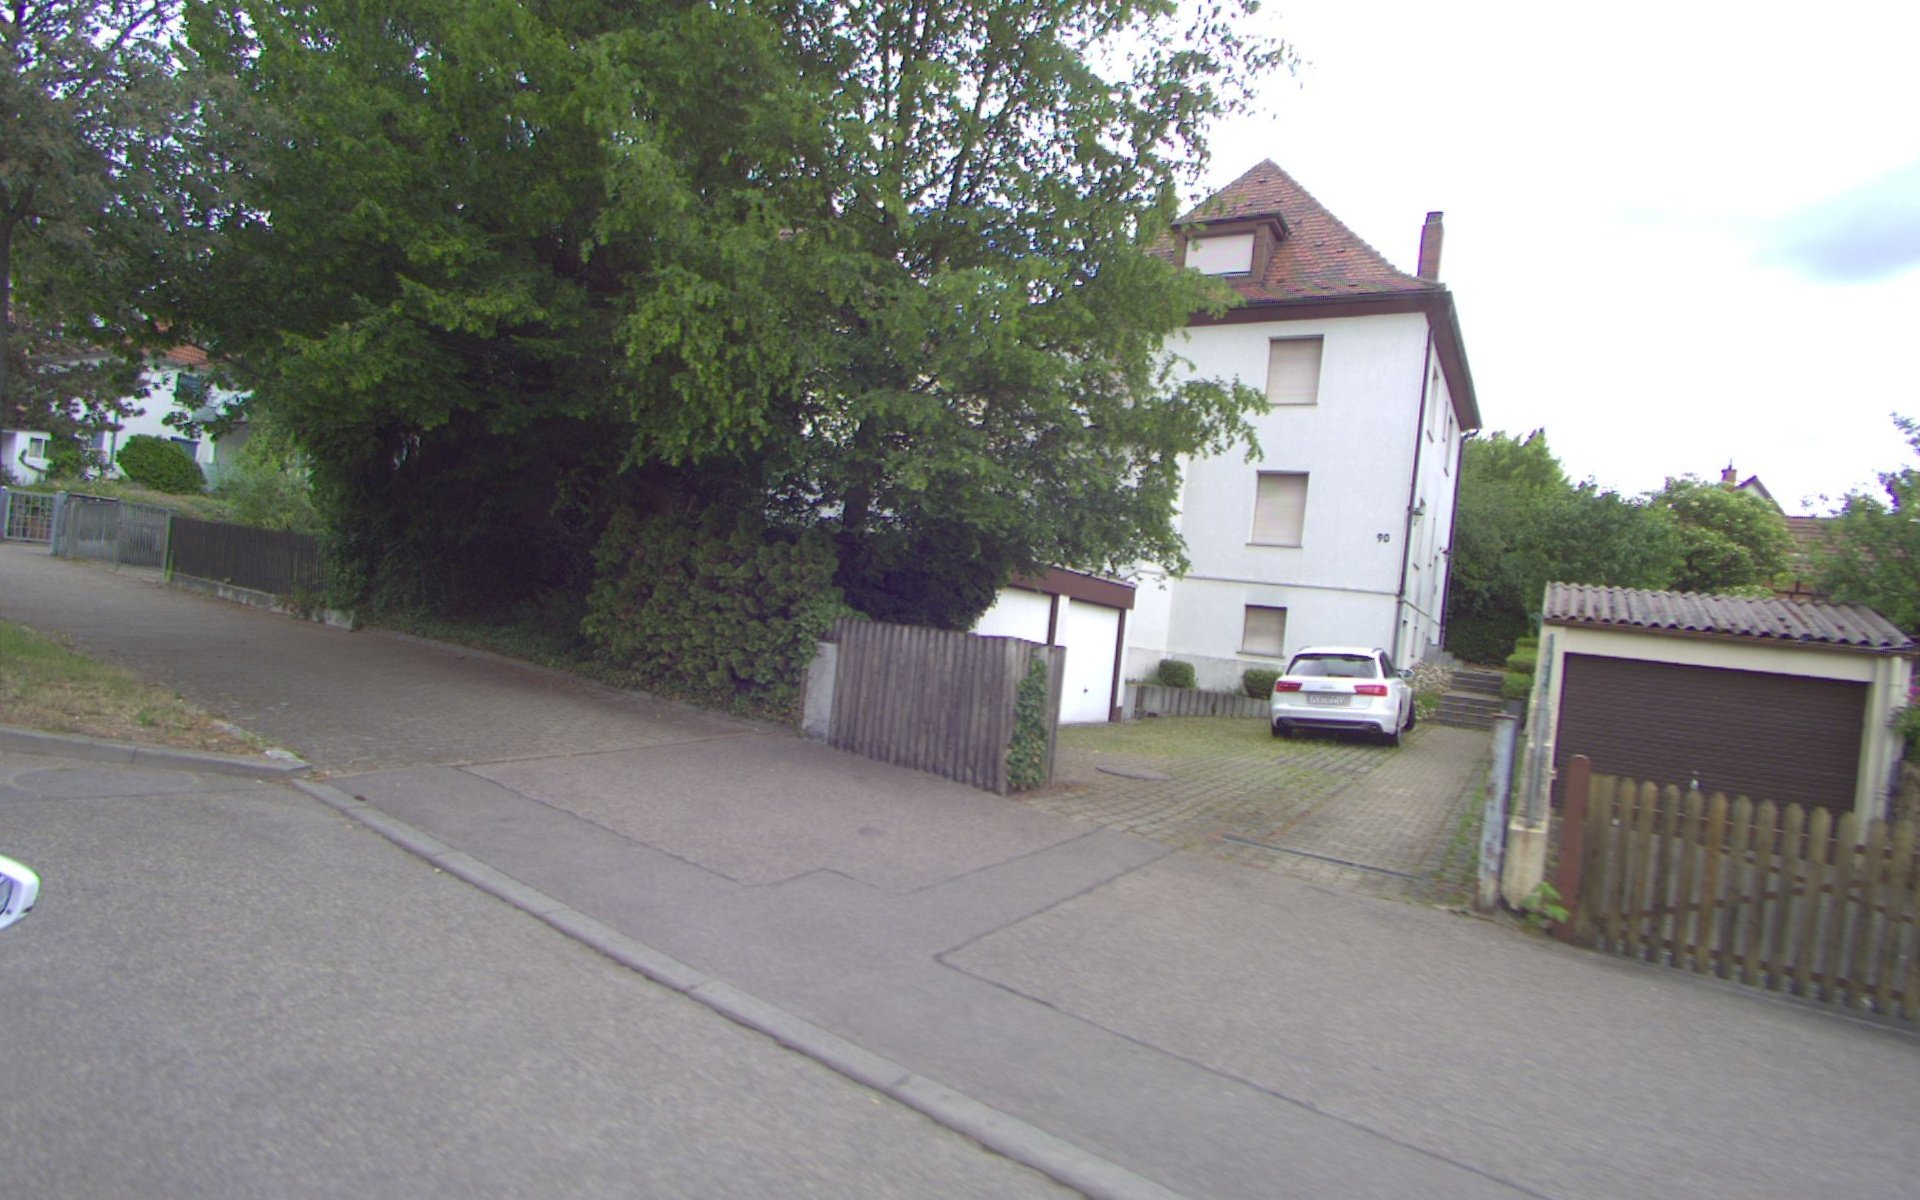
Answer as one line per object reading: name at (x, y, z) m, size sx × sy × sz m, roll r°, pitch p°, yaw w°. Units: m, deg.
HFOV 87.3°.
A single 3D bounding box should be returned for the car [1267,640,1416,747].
car at (6.231, 1.450, 16.150) m, size 1.804 × 1.411 × 4.091 m, roll 1°, pitch -3°, yaw 27°
